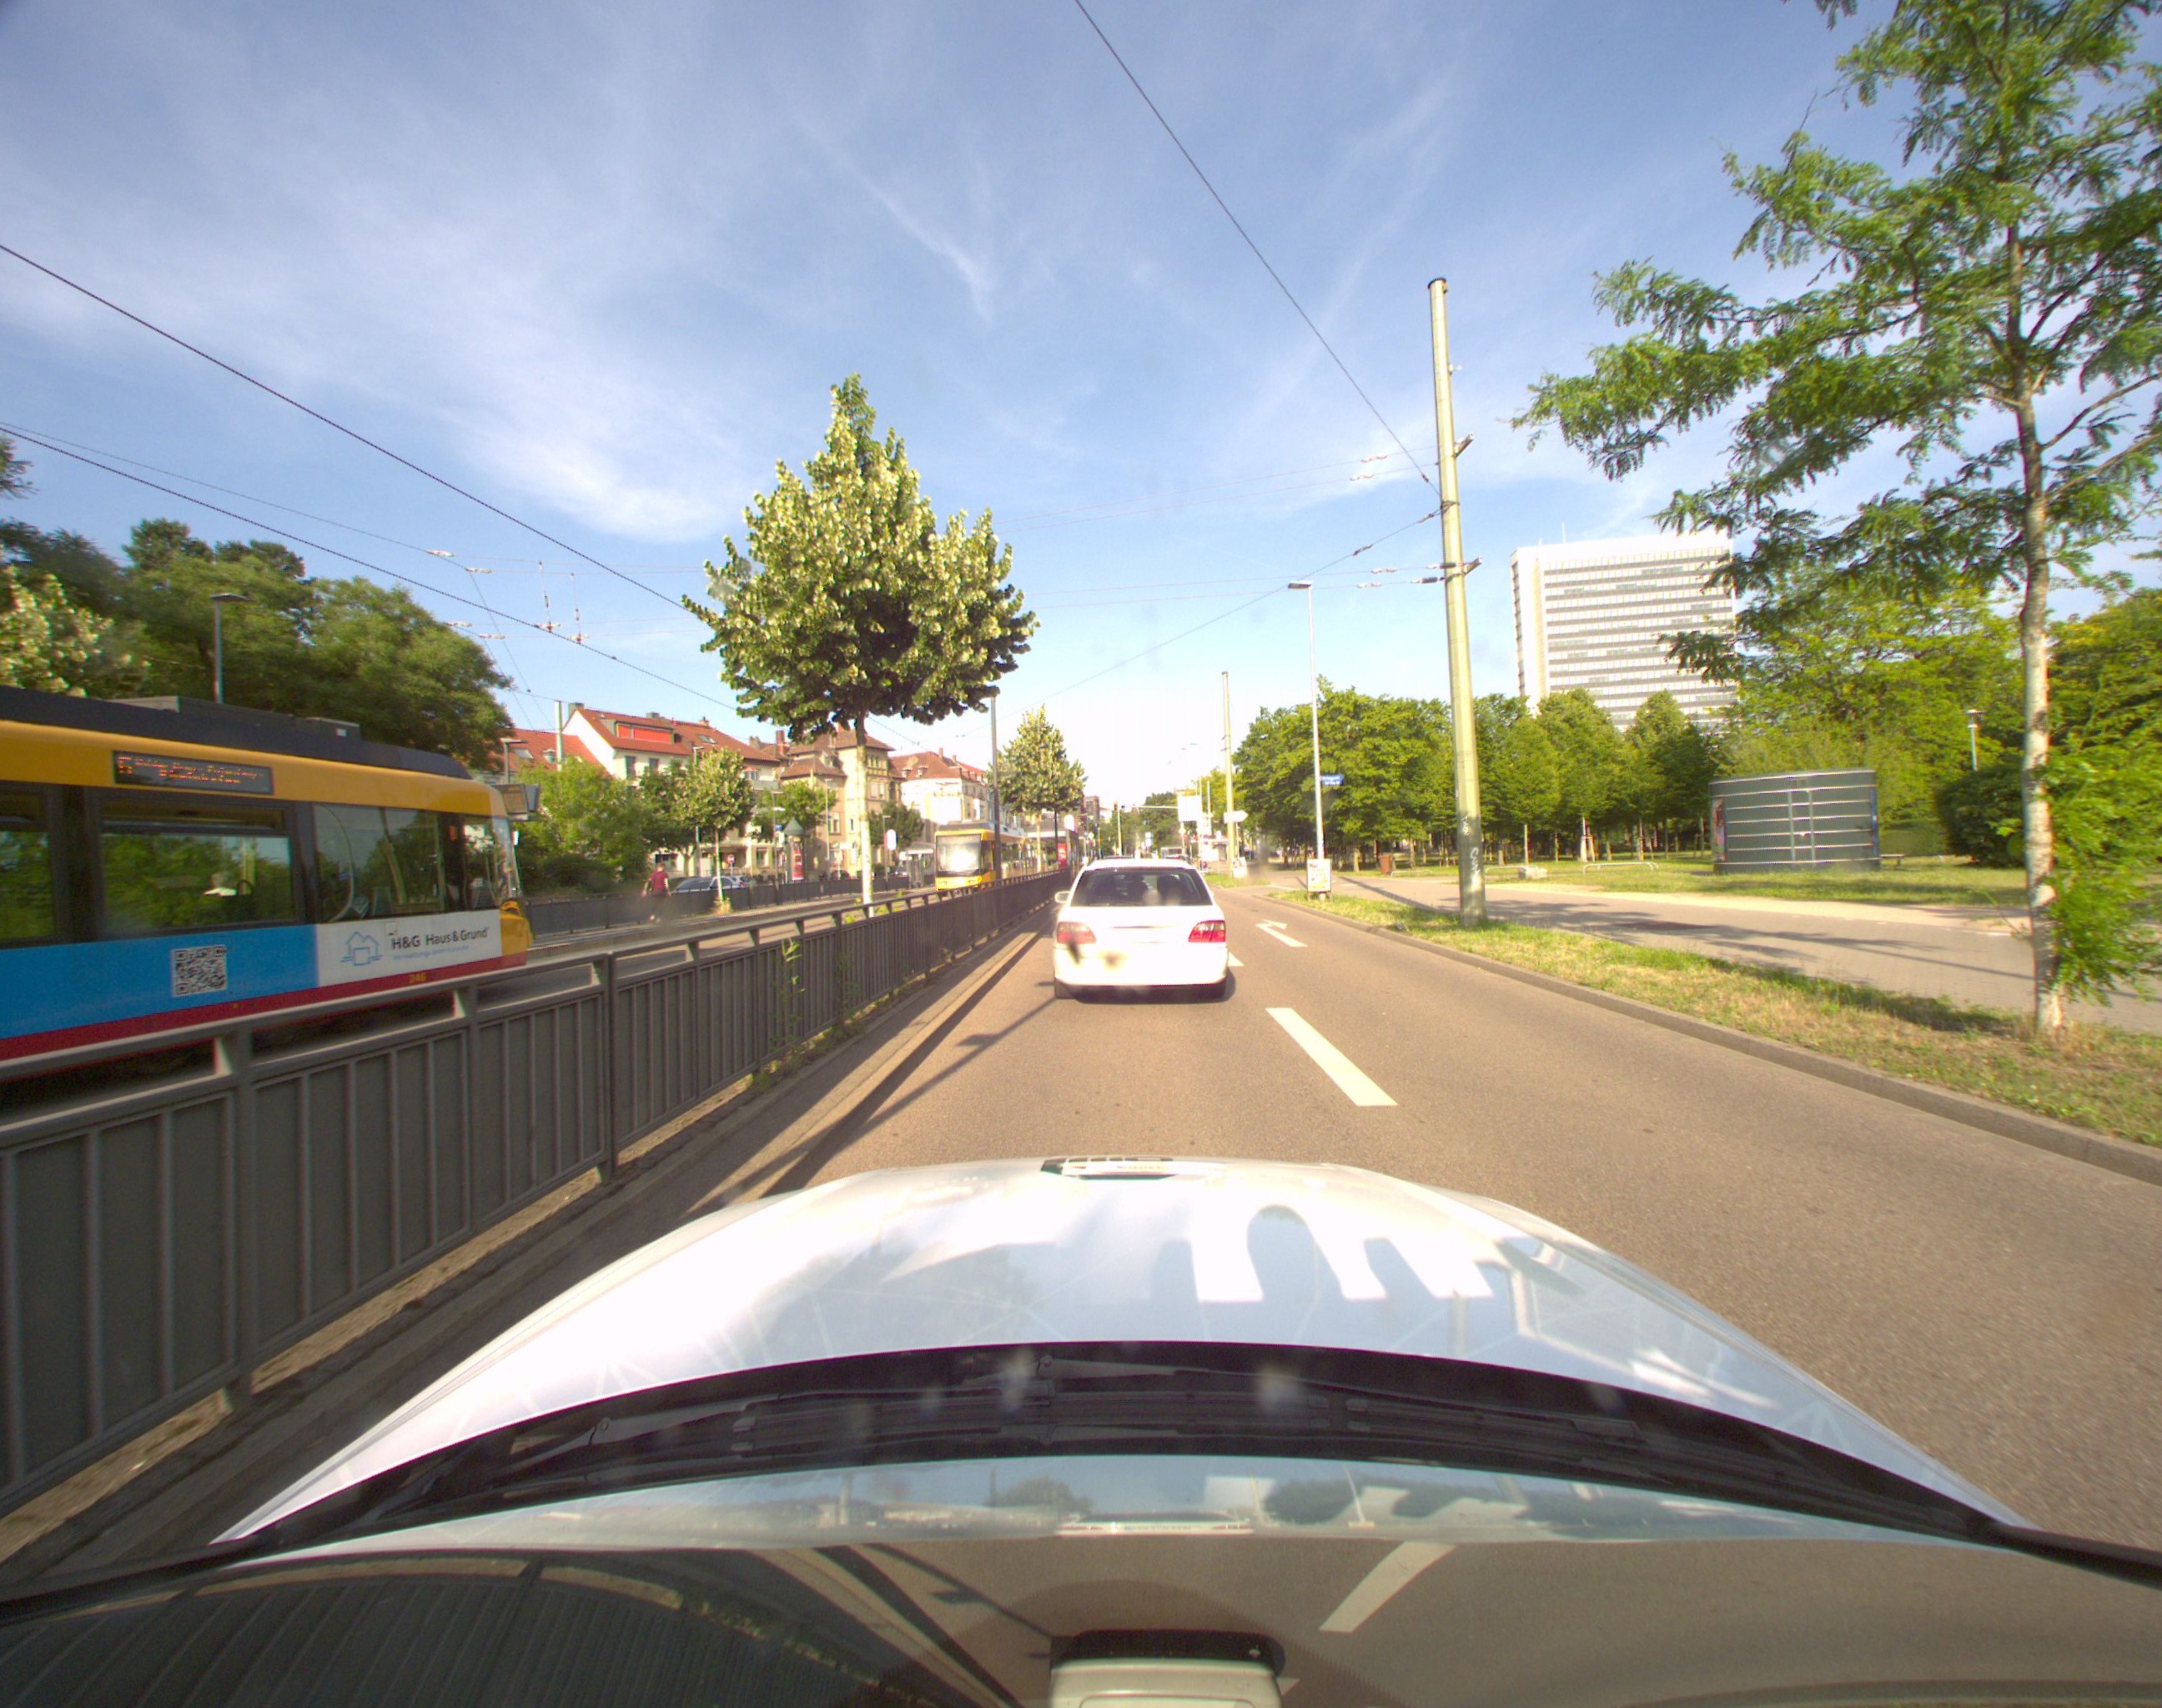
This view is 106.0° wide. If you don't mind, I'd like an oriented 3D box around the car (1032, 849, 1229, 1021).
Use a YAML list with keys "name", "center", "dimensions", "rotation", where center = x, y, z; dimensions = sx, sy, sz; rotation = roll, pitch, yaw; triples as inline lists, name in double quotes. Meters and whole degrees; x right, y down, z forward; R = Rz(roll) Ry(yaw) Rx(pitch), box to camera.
- name: "car"
  center: [0.598, 0.754, 9.569]
  dimensions: [1.750, 1.503, 4.004]
  rotation: [-3, 0, 4]

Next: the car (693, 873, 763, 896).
- name: "car"
  center: [-24.281, 2.104, 56.041]
  dimensions: [3.956, 1.398, 2.009]
  rotation: [-2, 0, 17]

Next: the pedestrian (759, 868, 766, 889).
- name: "pedestrian"
  center: [-30.063, 2.313, 76.826]
  dimensions: [0.417, 2.013, 0.436]
  rotation: [-2, 0, 21]

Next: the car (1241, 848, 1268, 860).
- name: "car"
  center: [29.181, 0.003, 137.027]
  dimensions: [3.949, 1.651, 2.012]
  rotation: [-3, -1, 28]

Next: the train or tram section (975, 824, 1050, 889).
- name: "train or tram section"
  center: [-4.061, 0.116, 51.625]
  dimensions: [2.838, 3.479, 13.209]
  rotation: [-2, 0, 3]

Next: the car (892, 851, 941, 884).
- name: "car"
  center: [-14.701, 1.149, 73.388]
  dimensions: [2.586, 2.735, 7.472]
  rotation: [-2, 0, 2]

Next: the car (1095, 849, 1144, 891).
- name: "car"
  center: [1.755, 0.653, 35.862]
  dimensions: [1.778, 1.690, 4.008]
  rotation: [-2, 0, 7]

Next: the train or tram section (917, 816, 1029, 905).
- name: "train or tram section"
  center: [-4.672, 0.227, 38.714]
  dimensions: [2.838, 3.479, 13.210]
  rotation: [-1, 0, 3]

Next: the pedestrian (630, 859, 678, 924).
- name: "pedestrian"
  center: [-11.828, 1.022, 22.570]
  dimensions: [0.832, 1.733, 0.773]
  rotation: [-3, 0, 3]

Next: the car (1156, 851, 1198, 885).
- name: "car"
  center: [4.952, 0.690, 42.068]
  dimensions: [2.022, 1.605, 4.008]
  rotation: [-2, 0, 7]

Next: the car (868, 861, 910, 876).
- name: "car"
  center: [-22.242, 1.669, 94.591]
  dimensions: [2.183, 1.628, 4.744]
  rotation: [-2, 0, 26]

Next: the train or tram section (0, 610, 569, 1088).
- name: "train or tram section"
  center: [-9.493, 0.005, 4.815]
  dimensions: [3.149, 3.479, 14.481]
  rotation: [-2, 0, 2]

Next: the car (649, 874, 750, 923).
- name: "car"
  center: [-15.023, 1.701, 32.366]
  dimensions: [1.986, 1.684, 4.001]
  rotation: [-2, 0, 1]

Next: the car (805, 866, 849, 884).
- name: "car"
  center: [-26.901, 2.243, 86.330]
  dimensions: [3.953, 1.750, 2.010]
  rotation: [-2, 0, 20]
